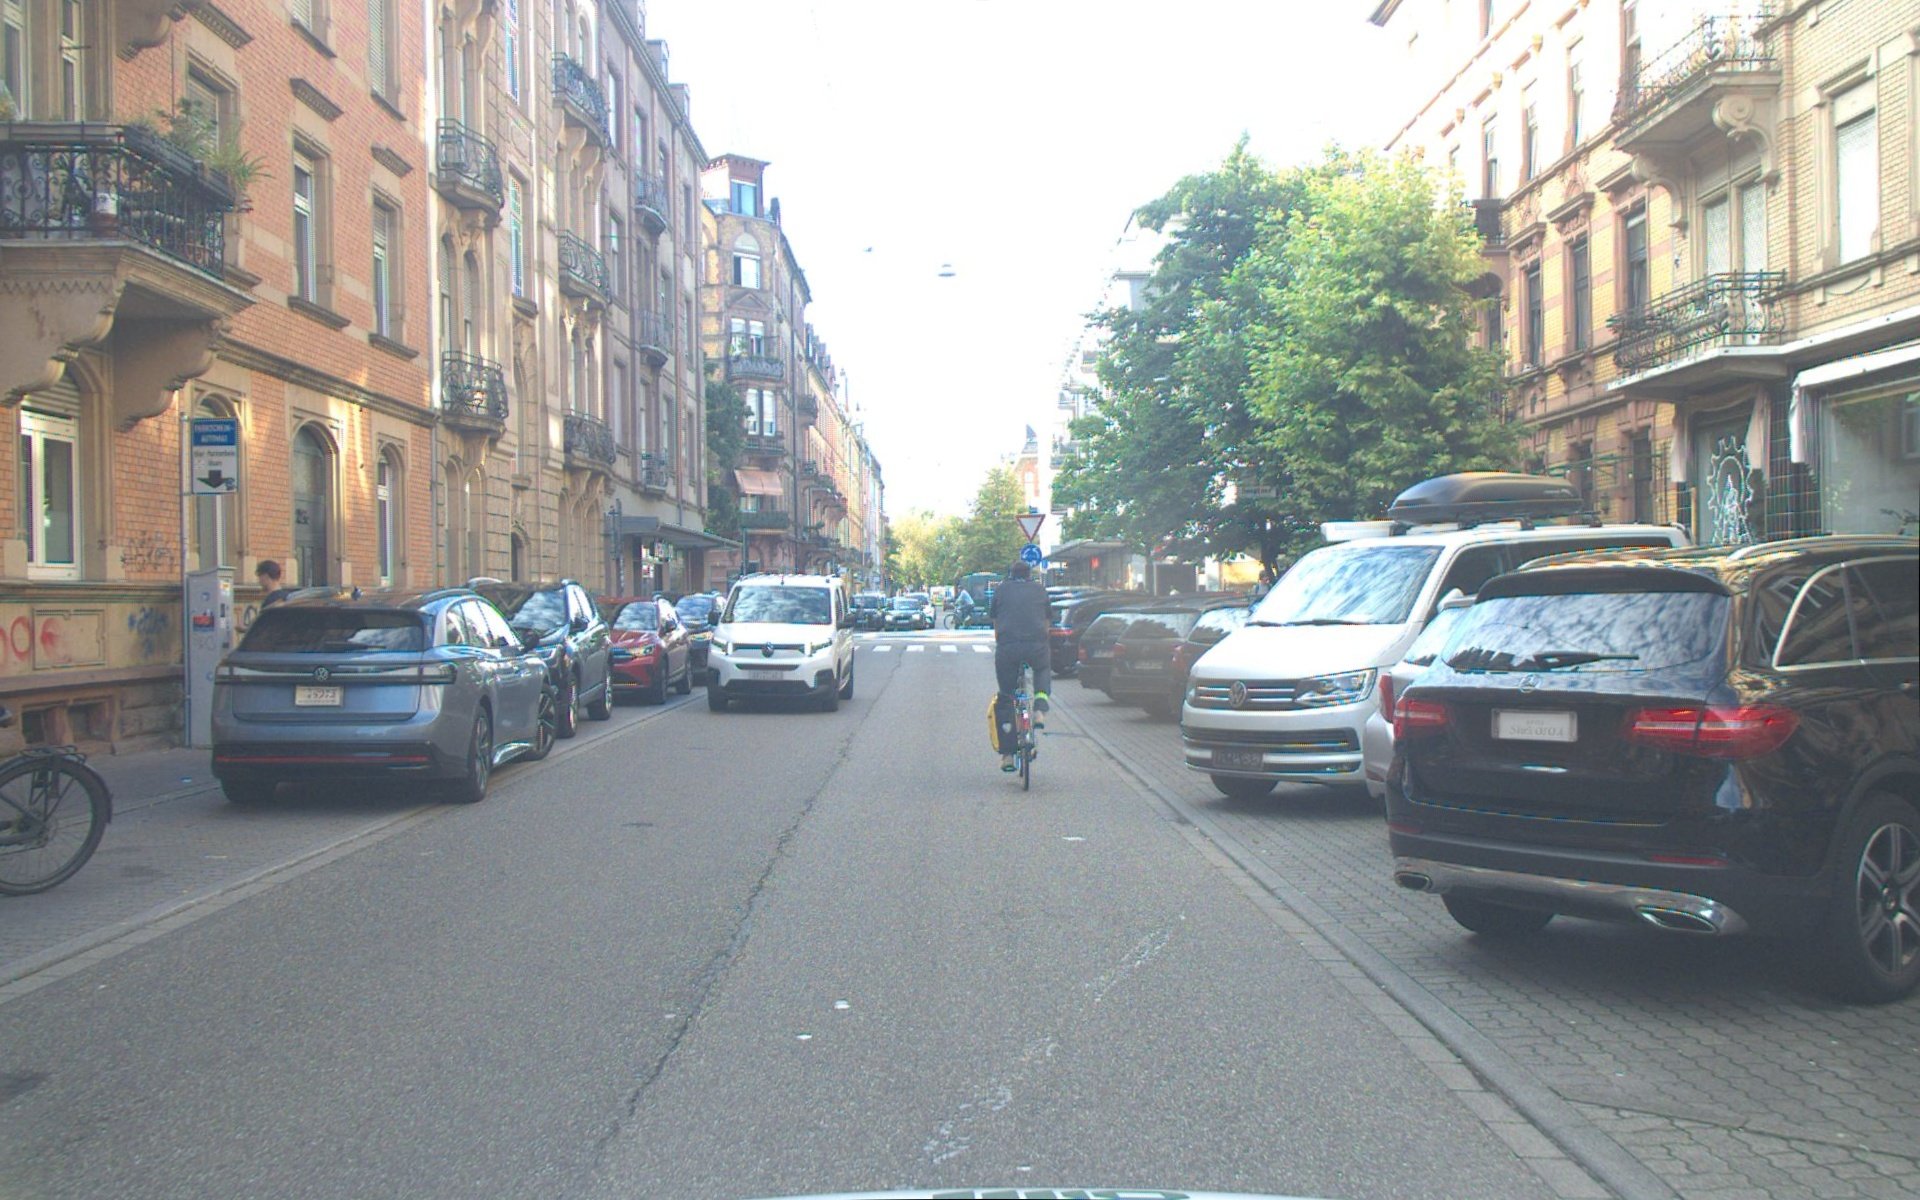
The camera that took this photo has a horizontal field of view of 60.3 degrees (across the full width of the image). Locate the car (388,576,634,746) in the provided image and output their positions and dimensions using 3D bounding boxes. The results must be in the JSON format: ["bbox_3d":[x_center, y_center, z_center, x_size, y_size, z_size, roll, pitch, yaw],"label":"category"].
[{"bbox_3d":[-5.009,0.592,19.135,1.836,1.710,4.890,0,1,-4],"label":"car"}]

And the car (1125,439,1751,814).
[{"bbox_3d":[3.890,0.113,13.045,5.098,2.447,1.895,-2,0,-34],"label":"car"}]

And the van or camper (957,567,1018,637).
[{"bbox_3d":[1.205,0.086,75.771,2.481,3.090,4.456,-1,0,-3],"label":"van or camper"}]

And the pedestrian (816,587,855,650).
[{"bbox_3d":[-3.678,0.541,48.875,0.769,1.811,0.789,-1,0,38],"label":"pedestrian"}]

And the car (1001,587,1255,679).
[{"bbox_3d":[3.359,0.598,32.889,4.701,1.482,2.037,-3,2,-29],"label":"car"}]

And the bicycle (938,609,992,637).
[{"bbox_3d":[0.200,0.962,68.646,2.139,1.111,0.678,1,0,18],"label":"bicycle"}]

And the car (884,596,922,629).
[{"bbox_3d":[-2.596,0.587,75.205,1.715,1.461,4.209,0,-1,-2],"label":"car"}]

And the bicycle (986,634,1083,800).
[{"bbox_3d":[0.580,0.906,13.718,0.652,1.198,2.496,0,0,-1],"label":"bicycle"}]

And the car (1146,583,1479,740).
[{"bbox_3d":[4.091,0.630,18.841,3.962,1.485,1.724,-3,1,-43],"label":"car"}]

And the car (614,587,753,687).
[{"bbox_3d":[-4.964,0.631,30.345,1.754,1.657,4.846,-1,0,-1],"label":"car"}]

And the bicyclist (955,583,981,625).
[{"bbox_3d":[0.329,0.165,68.621,0.836,1.695,0.790,1,0,19],"label":"bicyclist"}]

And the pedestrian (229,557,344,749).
[{"bbox_3d":[-6.637,0.511,16.342,0.740,1.840,0.863,0,0,3],"label":"pedestrian"}]

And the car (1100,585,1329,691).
[{"bbox_3d":[4.246,0.580,27.361,3.684,1.511,1.717,-3,1,-39],"label":"car"}]

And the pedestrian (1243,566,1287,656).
[{"bbox_3d":[6.609,0.240,35.853,0.822,1.911,0.723,-1,0,3],"label":"pedestrian"}]

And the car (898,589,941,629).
[{"bbox_3d":[-2.030,0.438,83.920,1.902,1.752,4.851,-2,2,1],"label":"car"}]

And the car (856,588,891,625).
[{"bbox_3d":[-4.989,0.365,95.837,1.954,2.049,3.998,-1,0,-3],"label":"car"}]

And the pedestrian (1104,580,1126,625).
[{"bbox_3d":[6.487,0.100,69.148,0.850,1.883,0.613,-1,0,4],"label":"pedestrian"}]

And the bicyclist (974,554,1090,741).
[{"bbox_3d":[0.588,0.385,13.798,0.914,1.510,0.747,0,0,-1],"label":"bicyclist"}]

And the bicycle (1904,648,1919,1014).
[{"bbox_3d":[3.798,0.744,4.761,0.400,1.203,1.897,-2,0,-31],"label":"bicycle"}]

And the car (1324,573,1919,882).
[{"bbox_3d":[4.408,0.624,10.432,4.190,1.576,1.850,0,1,-36],"label":"car"}]

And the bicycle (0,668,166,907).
[{"bbox_3d":[-4.711,0.891,7.774,0.472,1.078,1.904,1,0,23],"label":"bicycle"}]

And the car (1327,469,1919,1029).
[{"bbox_3d":[3.856,0.451,7.318,4.408,1.762,1.975,0,0,-36],"label":"car"}]

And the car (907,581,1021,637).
[{"bbox_3d":[0.109,0.315,57.974,3.906,1.915,1.999,0,0,-2],"label":"car"}]

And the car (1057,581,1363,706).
[{"bbox_3d":[3.747,0.574,24.472,4.419,1.490,1.856,-4,2,-36],"label":"car"}]

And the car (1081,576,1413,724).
[{"bbox_3d":[3.818,0.577,21.571,4.429,1.502,1.862,-5,2,-41],"label":"car"}]

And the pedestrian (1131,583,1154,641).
[{"bbox_3d":[5.706,0.369,51.575,0.615,1.769,0.776,-1,0,11],"label":"pedestrian"}]

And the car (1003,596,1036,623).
[{"bbox_3d":[3.181,0.484,89.157,1.612,1.347,3.577,-3,0,1],"label":"car"}]

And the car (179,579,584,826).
[{"bbox_3d":[-4.386,0.673,13.488,1.789,1.606,5.259,0,0,-4],"label":"car"}]

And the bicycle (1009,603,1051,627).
[{"bbox_3d":[3.345,0.717,78.679,1.959,1.063,0.532,-1,0,2],"label":"bicycle"}]

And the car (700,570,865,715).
[{"bbox_3d":[-2.415,0.550,23.570,1.878,1.860,4.438,0,0,0],"label":"car"}]

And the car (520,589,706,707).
[{"bbox_3d":[-5.093,0.668,24.871,1.953,1.572,4.425,-1,0,-2],"label":"car"}]

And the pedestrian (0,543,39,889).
[{"bbox_3d":[-5.115,0.582,8.529,0.559,1.739,0.659,1,0,-36],"label":"pedestrian"}]
